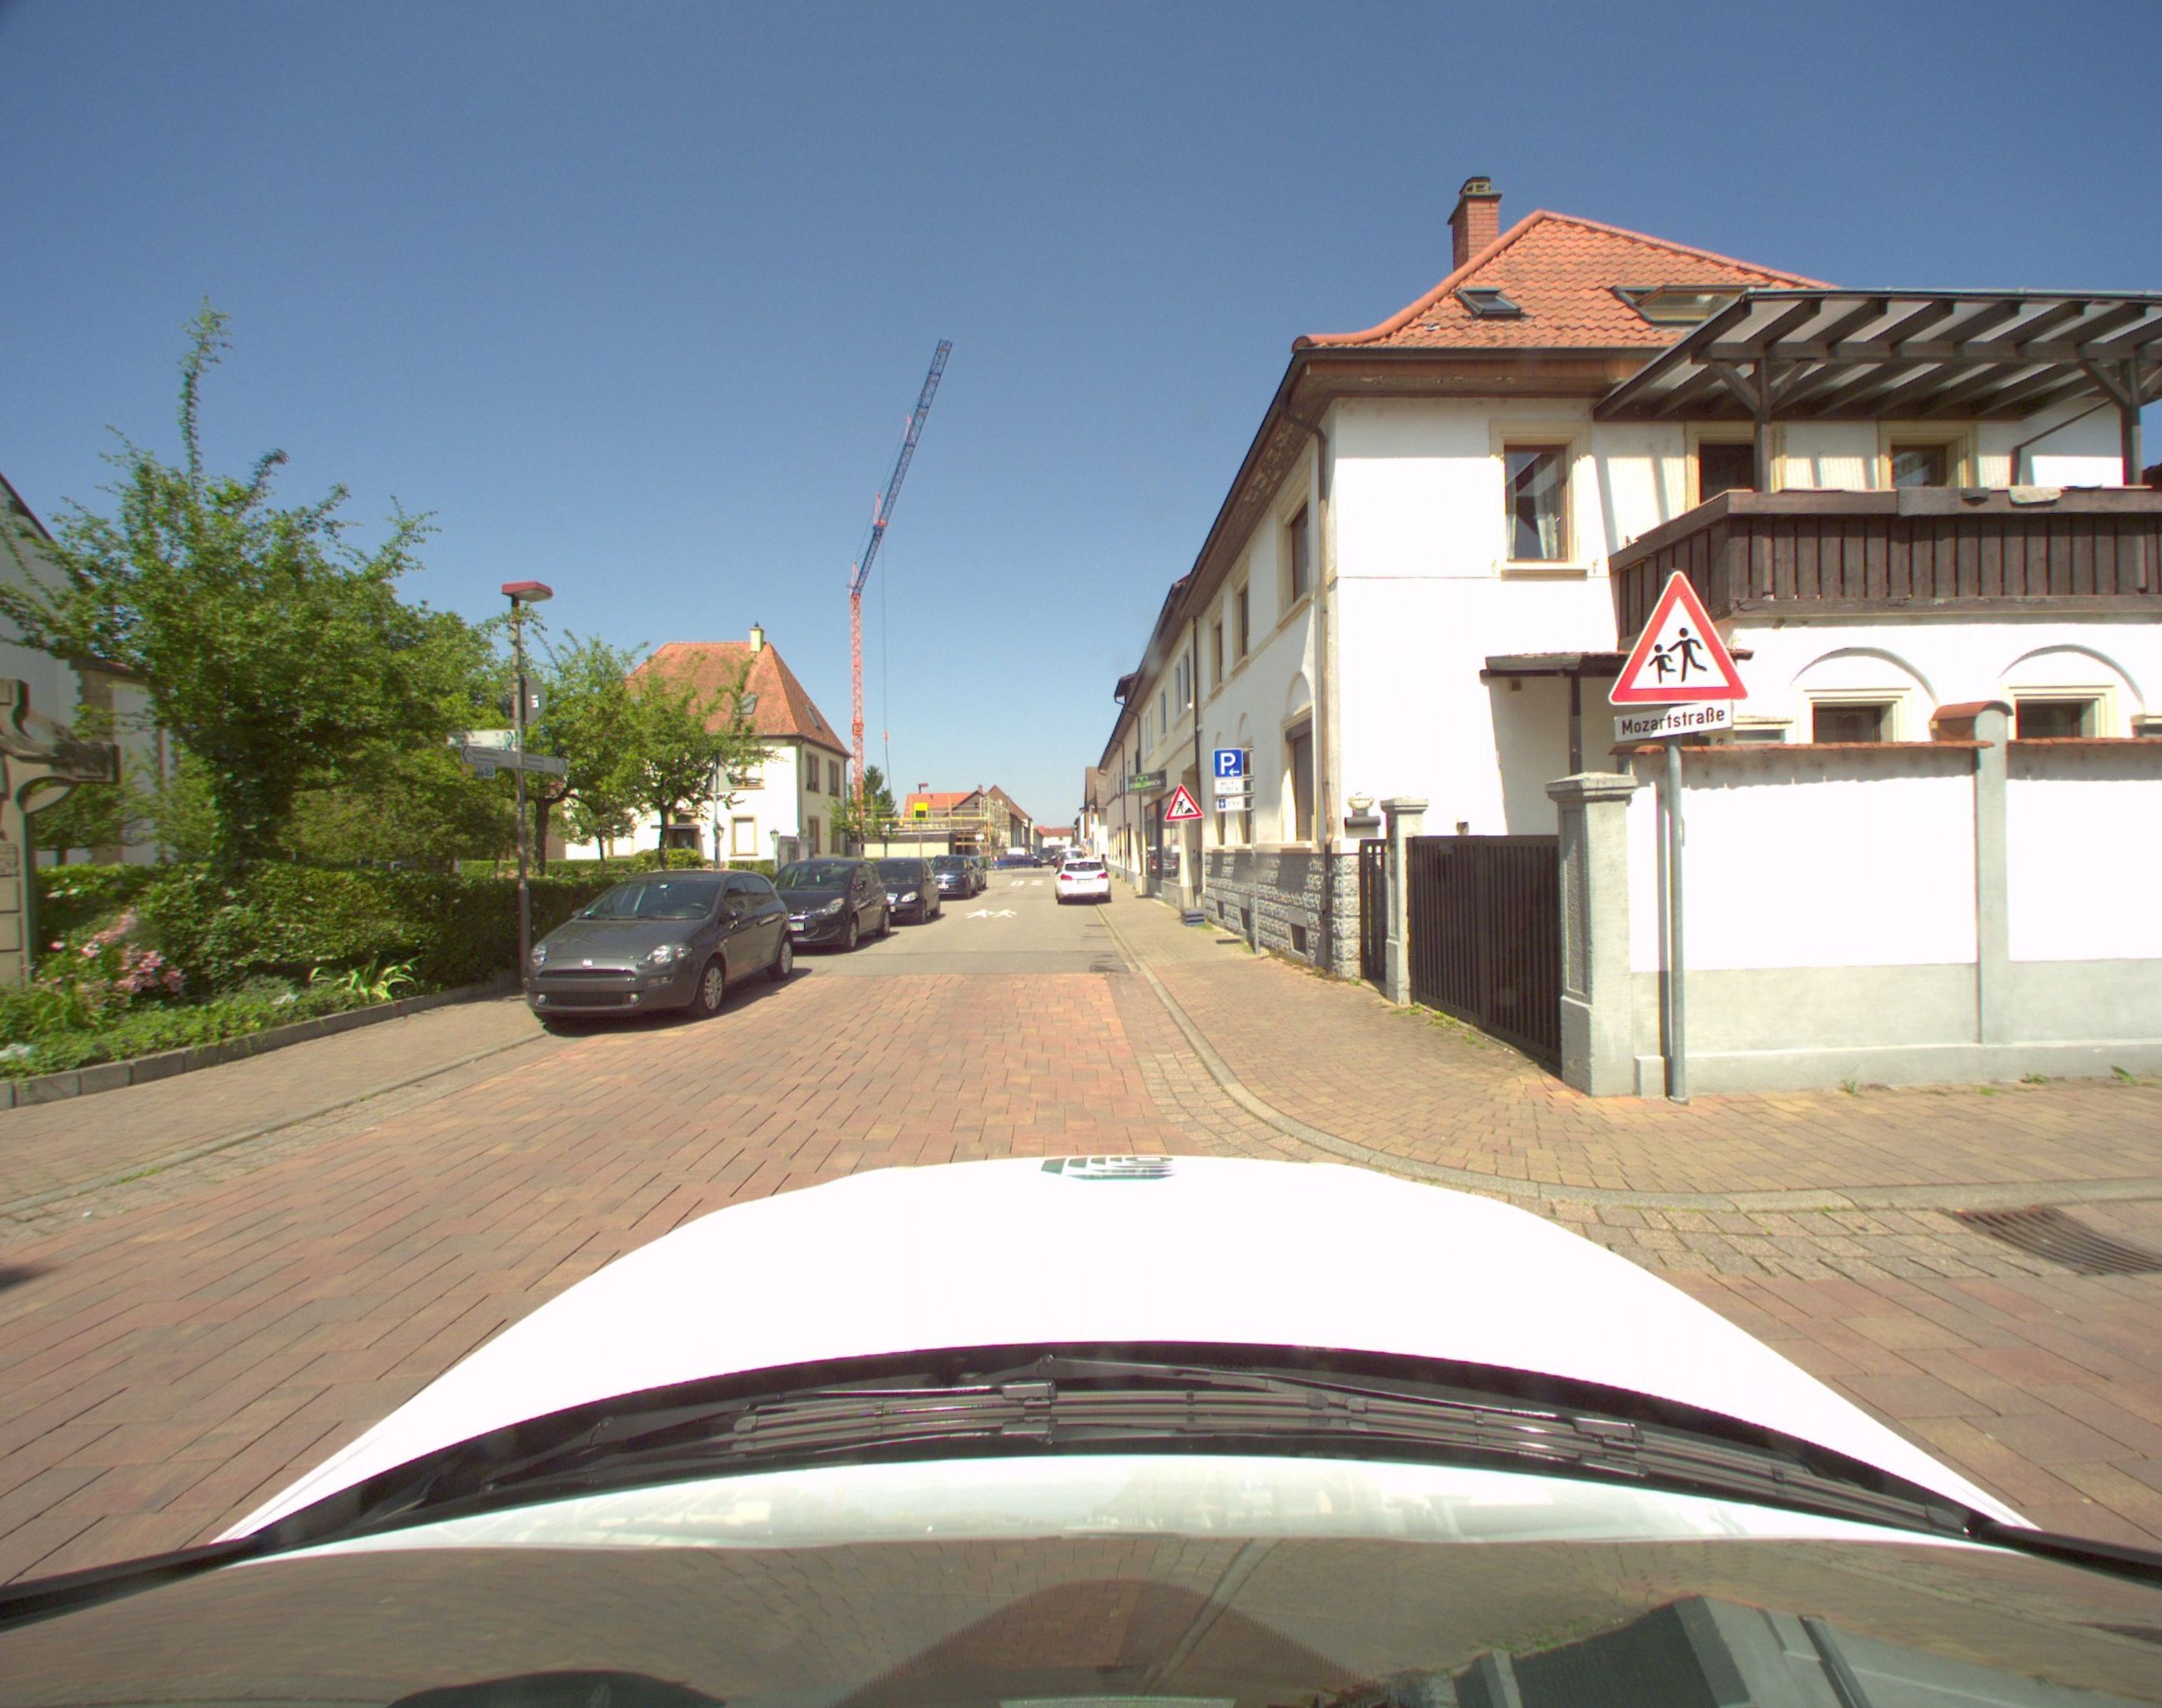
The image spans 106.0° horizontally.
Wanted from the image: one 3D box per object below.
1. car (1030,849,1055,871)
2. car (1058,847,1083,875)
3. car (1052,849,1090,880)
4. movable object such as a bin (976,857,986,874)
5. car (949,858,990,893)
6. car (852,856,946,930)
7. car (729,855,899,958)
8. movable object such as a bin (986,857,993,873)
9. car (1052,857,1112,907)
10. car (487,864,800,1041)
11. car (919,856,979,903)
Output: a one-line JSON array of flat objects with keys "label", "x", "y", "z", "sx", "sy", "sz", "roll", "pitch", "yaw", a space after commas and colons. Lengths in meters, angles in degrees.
[{"label": "car", "x": -3.013, "y": 0.480, "z": 64.540, "sx": 1.877, "sy": 1.668, "sz": 4.149, "roll": -1, "pitch": 0, "yaw": -3}, {"label": "car", "x": -0.725, "y": 0.455, "z": 53.134, "sx": 1.560, "sy": 1.613, "sz": 3.541, "roll": -1, "pitch": 2, "yaw": -2}, {"label": "car", "x": -0.624, "y": 0.584, "z": 47.951, "sx": 1.881, "sy": 1.556, "sz": 3.889, "roll": -5, "pitch": 1, "yaw": -4}, {"label": "movable object such as a bin", "x": -6.927, "y": 0.764, "z": 56.245, "sx": 0.621, "sy": 1.155, "sz": 0.675, "roll": -1, "pitch": 0, "yaw": -9}, {"label": "car", "x": -5.030, "y": 0.933, "z": 37.073, "sx": 1.433, "sy": 1.474, "sz": 3.782, "roll": -2, "pitch": 0, "yaw": -3}, {"label": "car", "x": -4.551, "y": 0.915, "z": 20.880, "sx": 1.633, "sy": 1.628, "sz": 3.765, "roll": -1, "pitch": 0, "yaw": -2}, {"label": "car", "x": -4.776, "y": 0.860, "z": 15.200, "sx": 1.809, "sy": 1.605, "sz": 4.024, "roll": -1, "pitch": 0, "yaw": 0}, {"label": "movable object such as a bin", "x": -6.410, "y": 0.768, "z": 56.757, "sx": 0.431, "sy": 1.155, "sz": 0.363, "roll": -1, "pitch": 0, "yaw": -11}, {"label": "car", "x": 0.037, "y": 0.899, "z": 28.197, "sx": 1.880, "sy": 1.542, "sz": 4.242, "roll": -1, "pitch": 0, "yaw": 0}, {"label": "car", "x": -4.613, "y": 0.910, "z": 9.303, "sx": 1.699, "sy": 1.496, "sz": 3.851, "roll": -1, "pitch": 0, "yaw": -5}, {"label": "car", "x": -5.046, "y": 0.918, "z": 31.574, "sx": 1.822, "sy": 1.630, "sz": 4.212, "roll": -1, "pitch": 0, "yaw": -3}]
